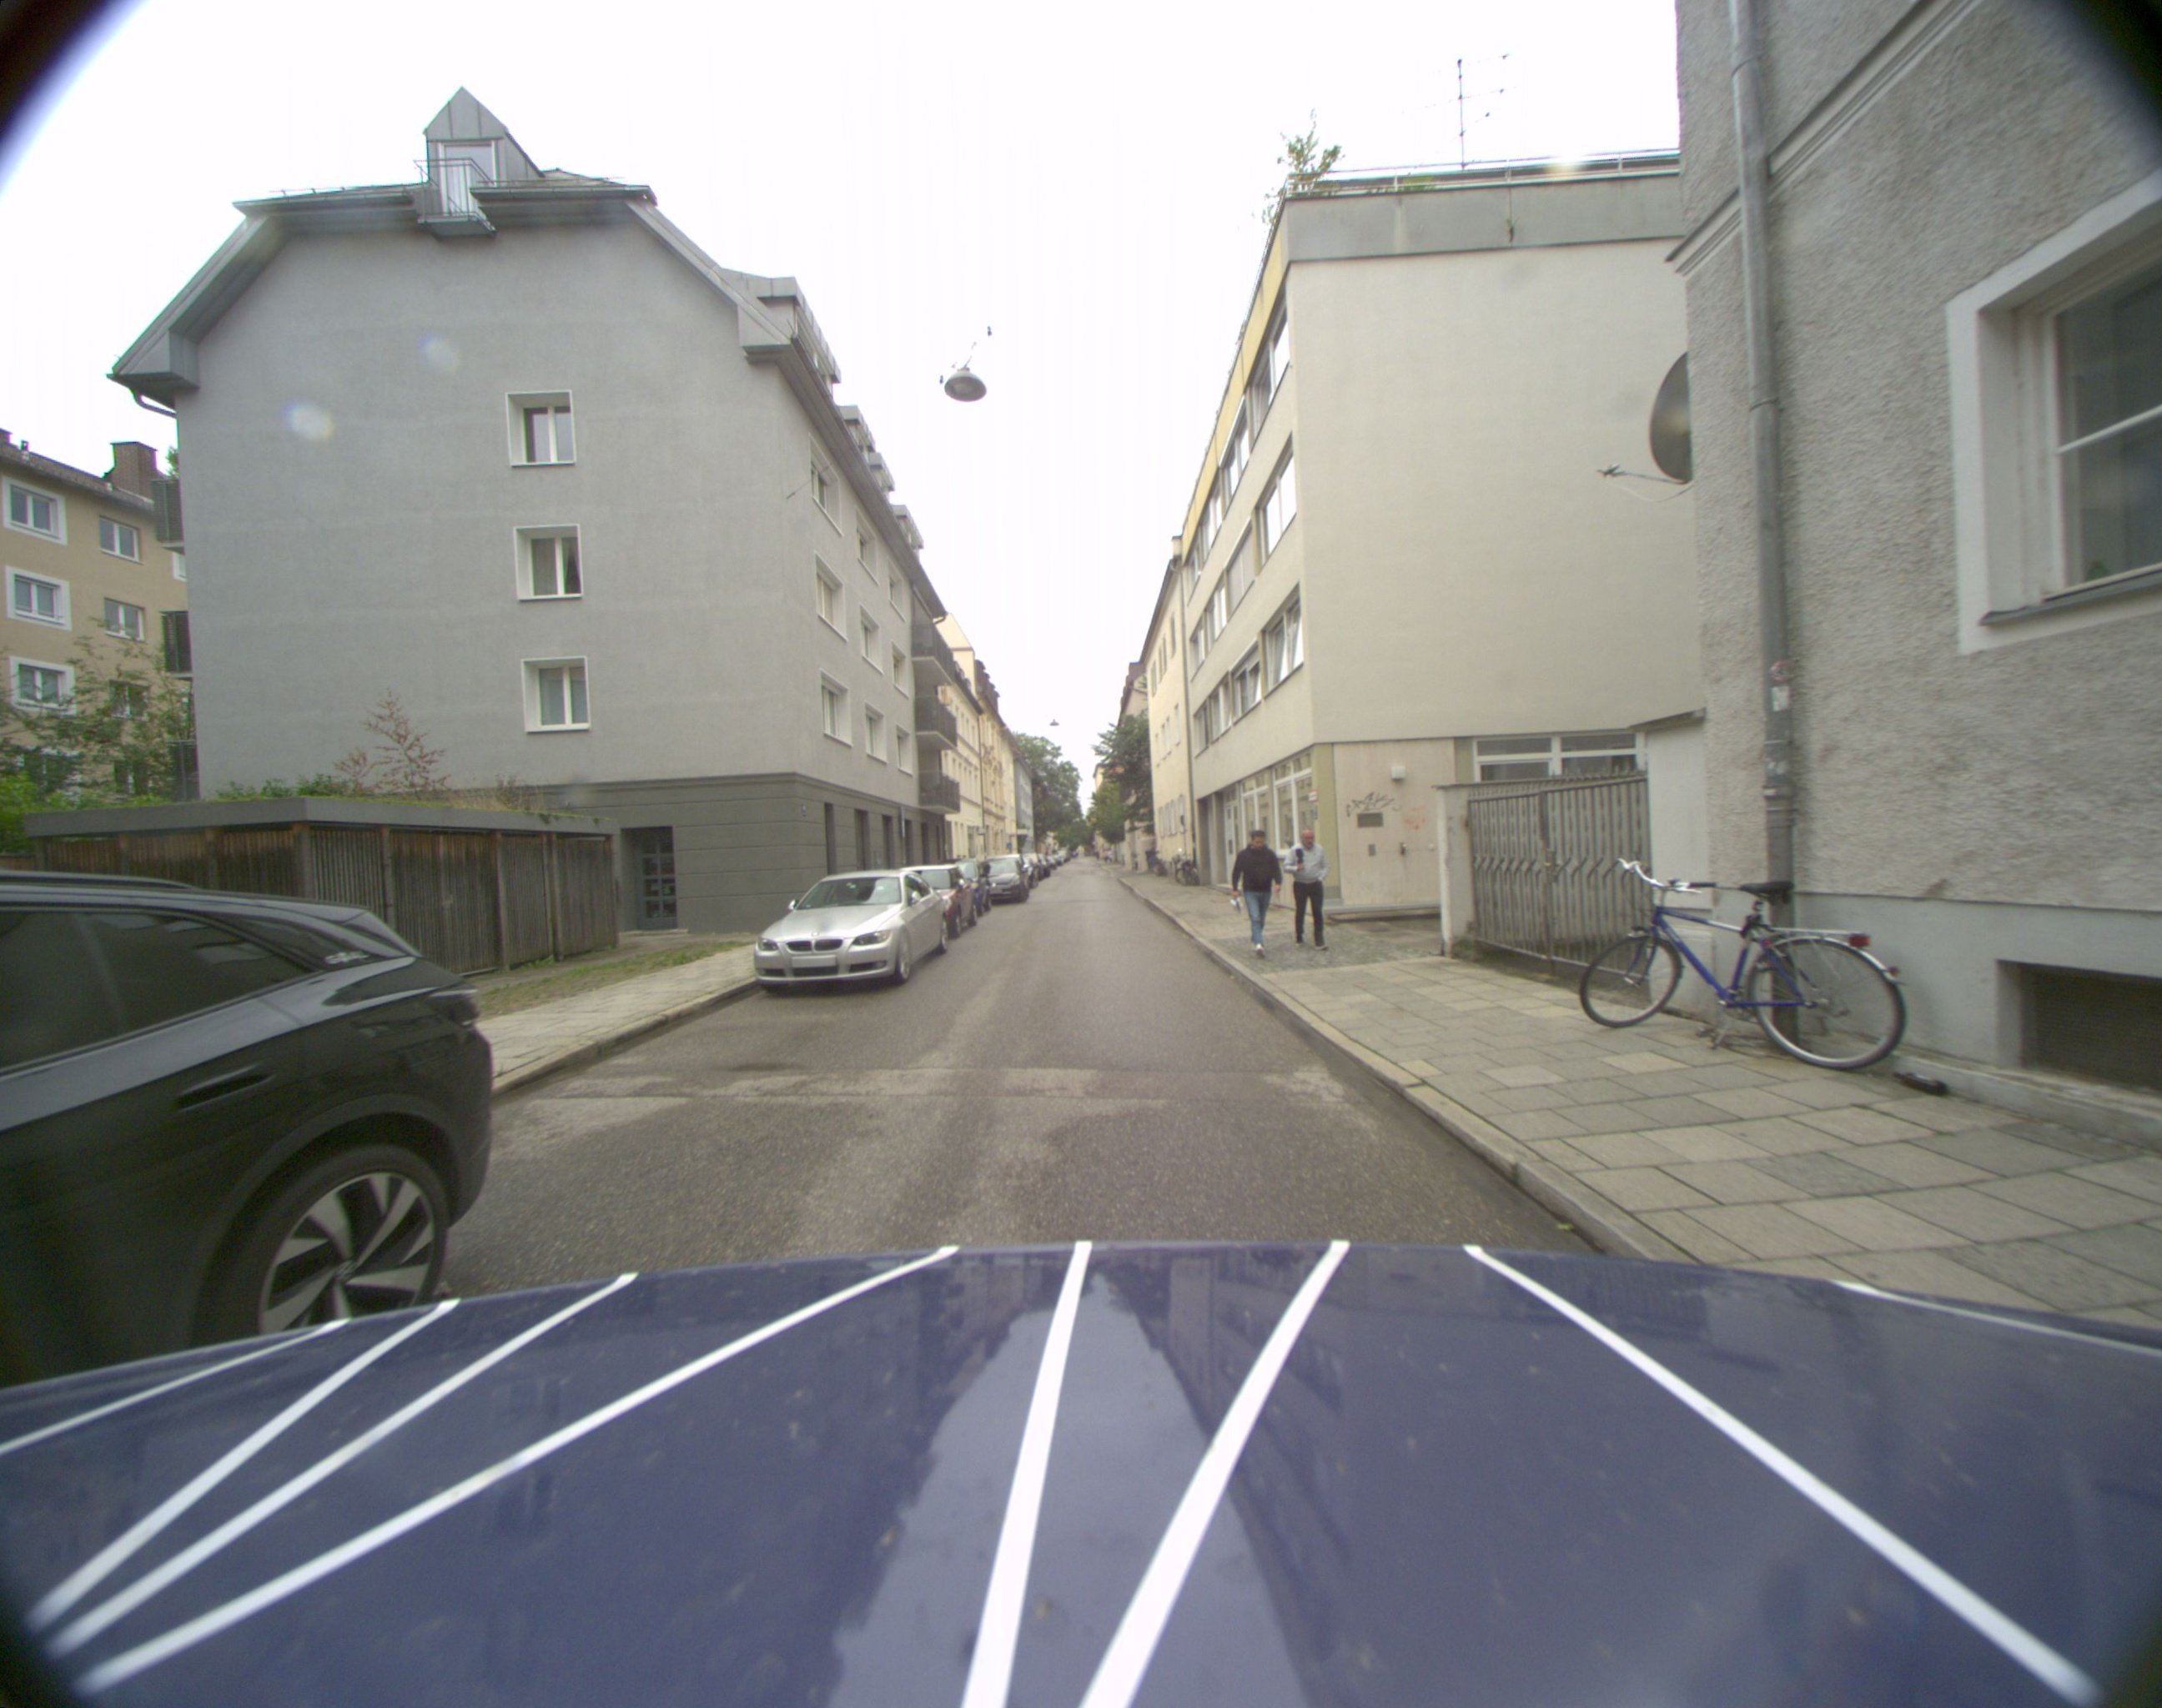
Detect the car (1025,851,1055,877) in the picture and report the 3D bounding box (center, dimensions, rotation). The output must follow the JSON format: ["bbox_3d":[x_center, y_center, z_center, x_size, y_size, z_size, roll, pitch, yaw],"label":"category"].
[{"bbox_3d":[-2.698,0.628,51.096,1.706,1.597,4.684,-3,0,0],"label":"car"}]

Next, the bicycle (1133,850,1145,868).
[{"bbox_3d":[4.019,0.348,52.600,0.545,1.154,1.882,-5,1,-1],"label":"bicycle"}]

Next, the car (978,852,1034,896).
[{"bbox_3d":[-2.919,0.751,30.457,1.880,1.561,4.315,-2,1,-1],"label":"car"}]

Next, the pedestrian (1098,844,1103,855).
[{"bbox_3d":[3.091,-0.732,121.500,0.766,1.742,0.970,-3,1,0],"label":"pedestrian"}]

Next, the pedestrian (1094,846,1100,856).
[{"bbox_3d":[2.957,-0.537,141.292,0.920,1.742,1.066,-3,1,0],"label":"pedestrian"}]

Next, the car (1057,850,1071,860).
[{"bbox_3d":[-2.639,0.153,119.015,1.998,1.306,4.593,-3,0,1],"label":"car"}]

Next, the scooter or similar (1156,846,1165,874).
[{"bbox_3d":[4.110,0.304,39.263,0.318,1.368,1.239,-2,1,0],"label":"scooter or similar"}]

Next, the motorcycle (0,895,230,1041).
[{"bbox_3d":[-10.044,1.135,7.634,2.520,1.335,0.551,-2,1,6],"label":"motorcycle"}]

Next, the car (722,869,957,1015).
[{"bbox_3d":[-3.069,1.026,10.809,1.841,1.409,4.600,-3,0,-1],"label":"car"}]

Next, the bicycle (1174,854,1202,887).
[{"bbox_3d":[3.894,0.581,27.678,0.563,1.153,1.720,-3,1,-5],"label":"bicycle"}]

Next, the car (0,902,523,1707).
[{"bbox_3d":[-3.071,1.024,0.684,1.890,1.546,4.390,-3,0,-2],"label":"car"}]

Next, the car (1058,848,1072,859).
[{"bbox_3d":[-2.587,-0.169,124.499,1.998,1.677,4.510,-3,0,1],"label":"car"}]

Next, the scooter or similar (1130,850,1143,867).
[{"bbox_3d":[3.982,0.332,54.665,0.553,1.137,1.359,-5,1,17],"label":"scooter or similar"}]

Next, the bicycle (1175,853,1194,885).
[{"bbox_3d":[3.981,0.551,29.393,0.459,1.153,1.605,-5,1,1],"label":"bicycle"}]

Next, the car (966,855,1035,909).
[{"bbox_3d":[-2.634,0.868,25.773,1.844,1.520,4.292,-3,0,-1],"label":"car"}]

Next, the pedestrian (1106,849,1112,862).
[{"bbox_3d":[3.464,0.230,93.770,0.624,1.570,0.714,-4,1,0],"label":"pedestrian"}]

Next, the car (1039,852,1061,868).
[{"bbox_3d":[-2.904,0.536,71.823,1.830,1.327,4.508,-7,0,0],"label":"car"}]

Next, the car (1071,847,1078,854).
[{"bbox_3d":[-2.046,-1.119,240.903,2.014,1.969,5.090,-7,0,1],"label":"car"}]

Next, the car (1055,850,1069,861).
[{"bbox_3d":[-2.824,0.222,113.650,1.860,1.366,4.509,-5,1,-1],"label":"car"}]

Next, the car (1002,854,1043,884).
[{"bbox_3d":[-3.013,0.748,40.204,1.804,1.378,4.348,-2,0,0],"label":"car"}]

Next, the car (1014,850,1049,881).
[{"bbox_3d":[-2.901,0.621,45.148,1.680,1.651,4.512,-3,0,0],"label":"car"}]

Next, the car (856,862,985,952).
[{"bbox_3d":[-3.168,0.977,15.823,1.750,1.453,4.149,-3,0,-1],"label":"car"}]

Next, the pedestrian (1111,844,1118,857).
[{"bbox_3d":[4.110,-0.440,93.750,0.615,1.612,0.687,-5,1,1],"label":"pedestrian"}]

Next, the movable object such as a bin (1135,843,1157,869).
[{"bbox_3d":[4.050,0.124,47.438,1.177,1.433,1.249,-8,-1,6],"label":"movable object such as a bin"}]

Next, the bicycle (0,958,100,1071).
[{"bbox_3d":[-9.184,1.385,6.262,0.375,0.854,1.320,-2,1,4],"label":"bicycle"}]

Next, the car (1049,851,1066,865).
[{"bbox_3d":[-2.765,0.424,89.211,1.846,1.420,4.263,-7,0,-2],"label":"car"}]

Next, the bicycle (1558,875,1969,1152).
[{"bbox_3d":[3.779,0.766,4.406,0.644,1.210,1.662,-3,1,-19],"label":"bicycle"}]

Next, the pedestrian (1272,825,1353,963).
[{"bbox_3d":[3.186,0.530,10.539,0.720,1.786,0.916,-5,1,1],"label":"pedestrian"}]

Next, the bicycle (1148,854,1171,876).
[{"bbox_3d":[3.879,0.525,37.536,0.705,0.978,1.822,-7,1,-4],"label":"bicycle"}]

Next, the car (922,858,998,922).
[{"bbox_3d":[-3.244,0.928,20.862,1.525,1.503,3.201,-3,1,-1],"label":"car"}]

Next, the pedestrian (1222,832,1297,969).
[{"bbox_3d":[2.421,0.607,10.388,0.720,1.755,0.838,-5,1,1],"label":"pedestrian"}]

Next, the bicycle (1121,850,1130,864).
[{"bbox_3d":[3.873,0.251,66.241,0.539,1.132,1.916,-5,1,0],"label":"bicycle"}]

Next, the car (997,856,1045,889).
[{"bbox_3d":[-2.766,0.824,35.667,1.812,1.355,3.945,-2,1,1],"label":"car"}]
